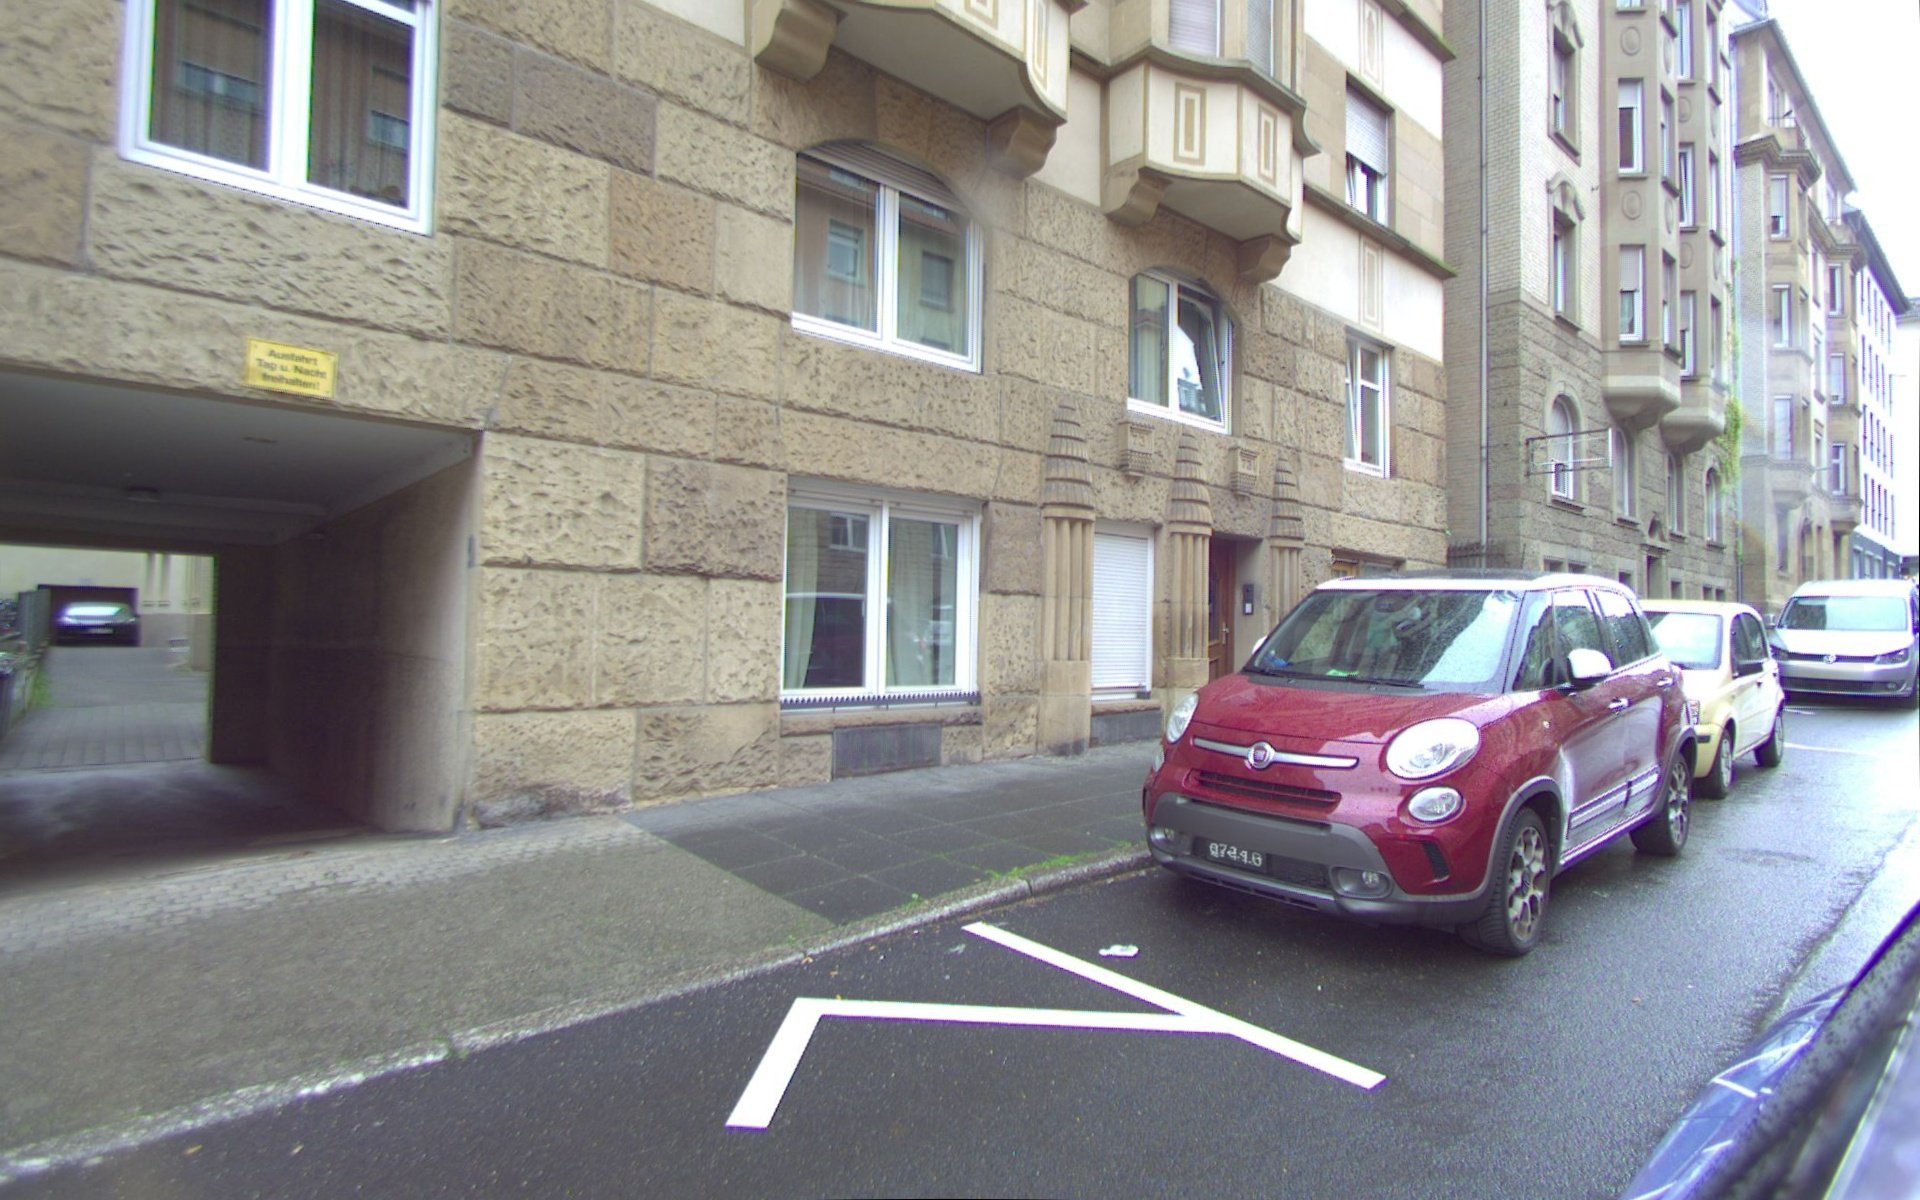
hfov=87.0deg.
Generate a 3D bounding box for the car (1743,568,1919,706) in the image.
[{"bbox_3d":[13.766,0.499,15.503,4.380,1.825,1.966,0,-1,-41],"label":"car"}]

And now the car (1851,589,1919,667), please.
[{"bbox_3d":[20.481,0.545,21.433,3.860,1.549,1.889,0,-1,-41],"label":"car"}]

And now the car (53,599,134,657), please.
[{"bbox_3d":[-25.181,0.776,29.453,1.692,1.541,4.098,0,-1,-41],"label":"car"}]

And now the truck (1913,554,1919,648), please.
[{"bbox_3d":[29.167,0.019,28.872,6.036,2.568,2.233,0,-1,-41],"label":"truck"}]

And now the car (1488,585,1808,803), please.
[{"bbox_3d":[6.202,0.676,8.986,3.517,1.549,1.578,0,-1,-43],"label":"car"}]

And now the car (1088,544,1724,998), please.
[{"bbox_3d":[2.681,0.613,5.625,3.932,1.619,1.804,0,-1,-42],"label":"car"}]

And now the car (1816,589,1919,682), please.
[{"bbox_3d":[17.175,0.598,18.494,3.934,1.549,1.994,0,-1,-45],"label":"car"}]
